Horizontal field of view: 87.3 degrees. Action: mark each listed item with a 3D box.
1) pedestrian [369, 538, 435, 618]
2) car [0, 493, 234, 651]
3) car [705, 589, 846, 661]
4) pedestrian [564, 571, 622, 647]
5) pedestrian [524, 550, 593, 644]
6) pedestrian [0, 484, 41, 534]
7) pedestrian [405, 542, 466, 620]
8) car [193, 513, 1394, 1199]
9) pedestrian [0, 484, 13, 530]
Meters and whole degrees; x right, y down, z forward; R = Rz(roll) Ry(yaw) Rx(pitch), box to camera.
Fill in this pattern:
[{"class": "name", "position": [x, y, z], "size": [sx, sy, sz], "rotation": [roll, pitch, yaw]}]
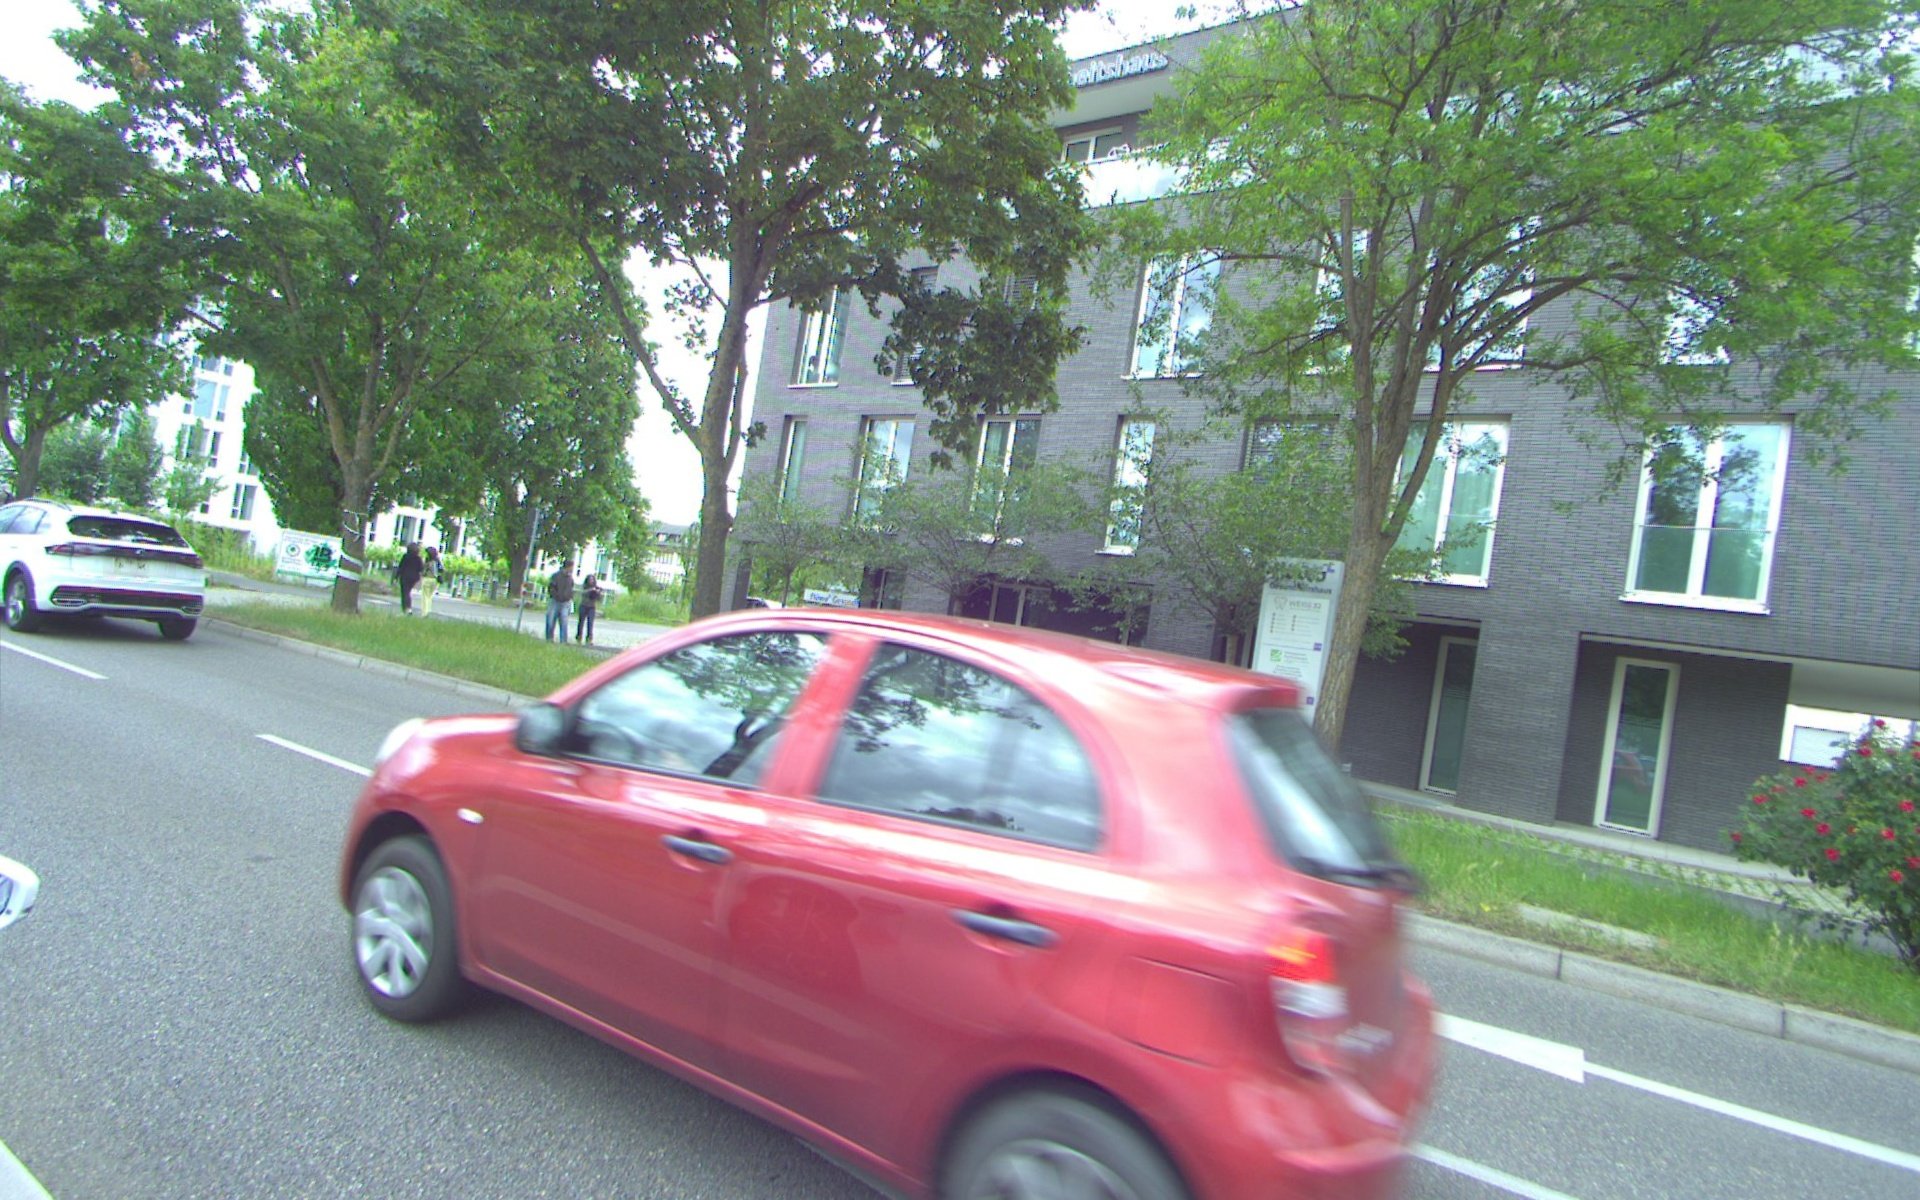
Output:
[{"class": "pedestrian", "position": [-12.850, -0.507, 23.172], "size": [1.043, 1.679, 0.796], "rotation": [7, -1, 38]}, {"class": "car", "position": [-11.261, -0.434, 12.699], "size": [4.019, 1.574, 1.720], "rotation": [7, -1, 29]}, {"class": "car", "position": [-5.809, 0.764, 31.537], "size": [4.080, 1.665, 1.759], "rotation": [7, -2, 32]}, {"class": "pedestrian", "position": [-8.331, 0.204, 22.829], "size": [0.829, 1.575, 0.866], "rotation": [9, -2, -38]}, {"class": "pedestrian", "position": [-8.763, -0.078, 21.954], "size": [0.955, 1.889, 0.968], "rotation": [9, -2, -39]}, {"class": "pedestrian", "position": [-34.762, -3.363, 37.210], "size": [0.868, 1.705, 0.768], "rotation": [6, -1, 31]}, {"class": "pedestrian", "position": [-12.413, -0.441, 23.802], "size": [0.937, 1.679, 0.779], "rotation": [7, -1, 38]}, {"class": "car", "position": [-0.731, 0.721, 3.508], "size": [3.793, 1.577, 1.719], "rotation": [7, -1, 31]}, {"class": "pedestrian", "position": [-35.140, -3.439, 36.538], "size": [0.868, 1.614, 0.701], "rotation": [6, -1, 31]}]
